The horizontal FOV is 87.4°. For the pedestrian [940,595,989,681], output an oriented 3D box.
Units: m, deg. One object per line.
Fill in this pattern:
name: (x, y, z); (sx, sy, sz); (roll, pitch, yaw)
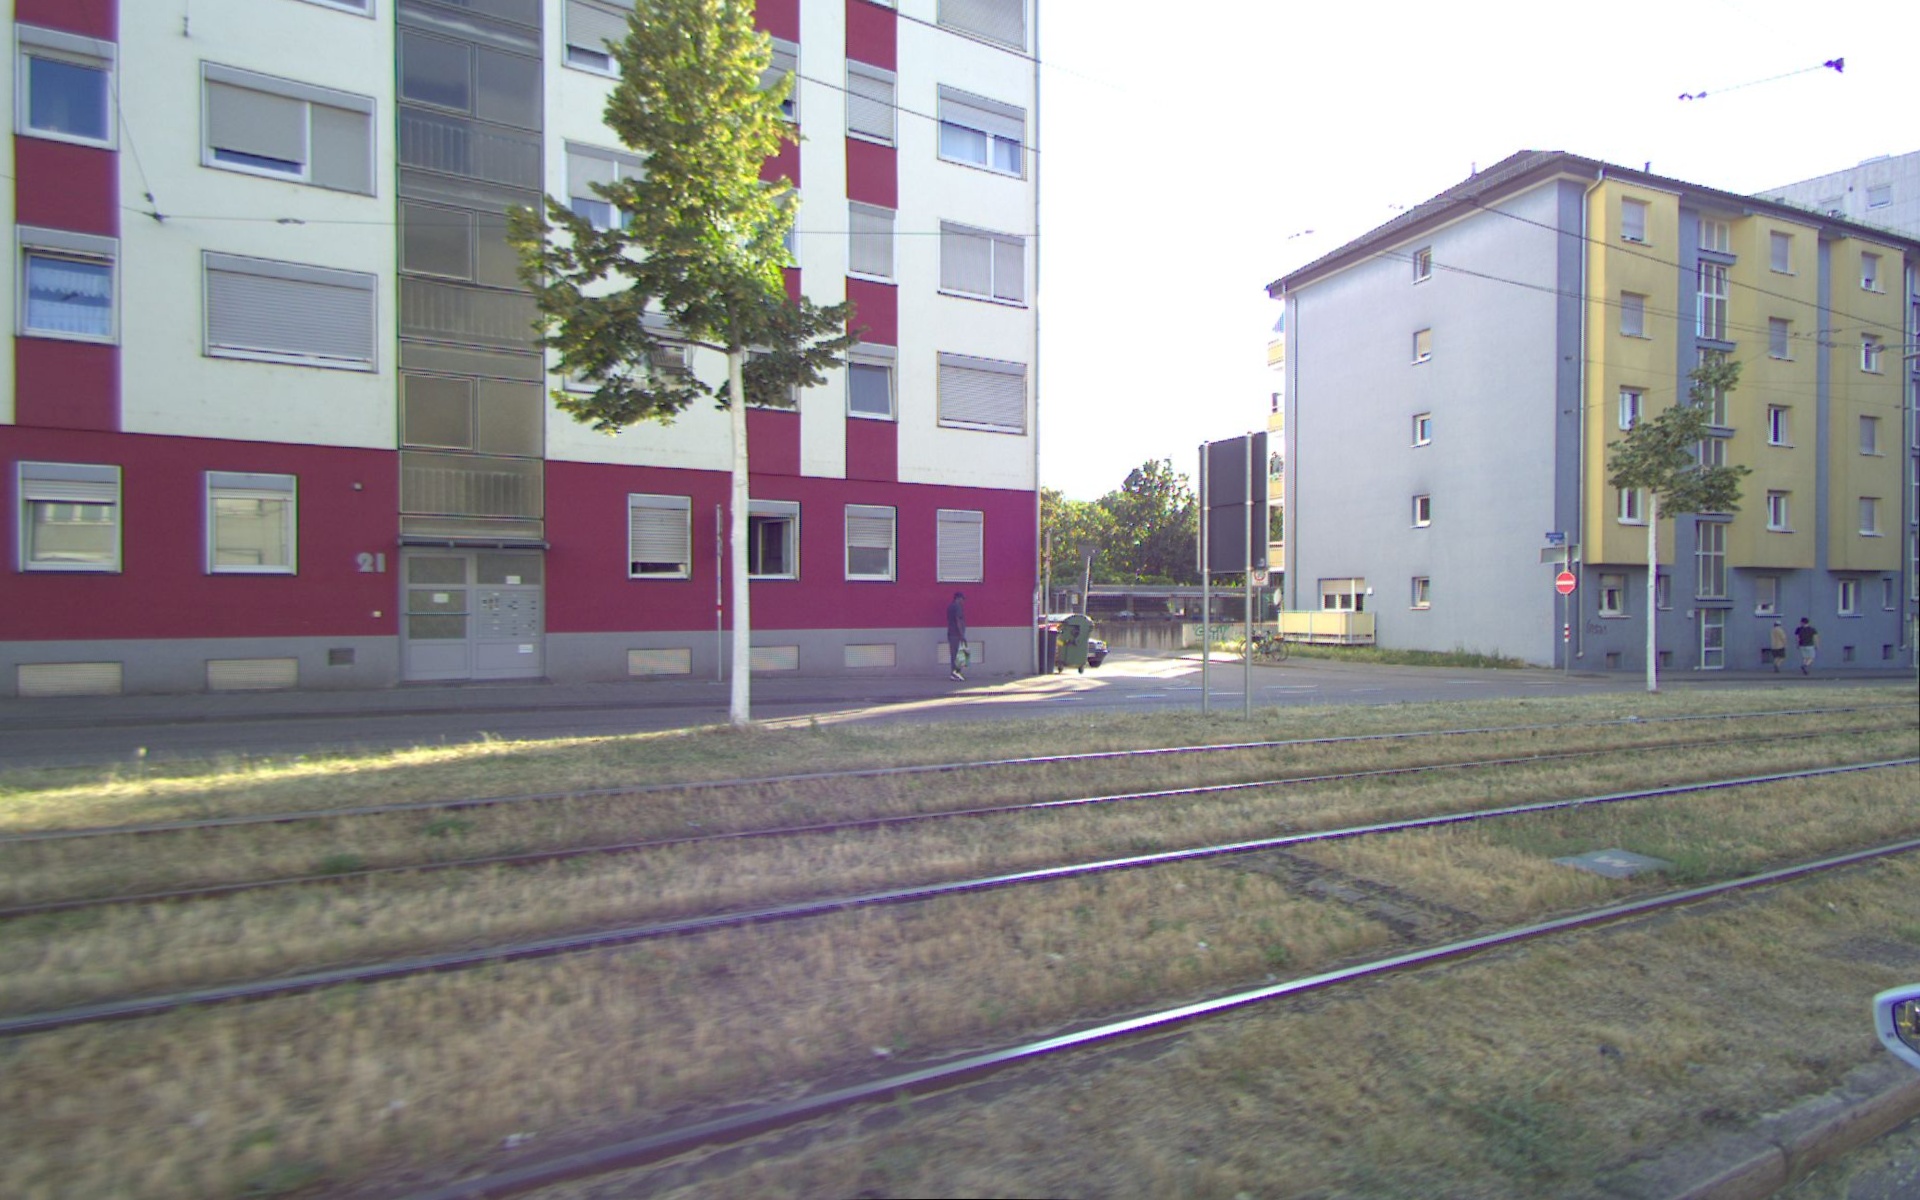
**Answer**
pedestrian: (0.088, 0.761, 20.489); (0.782, 1.712, 0.611); (0, 0, -29)

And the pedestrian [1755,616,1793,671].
pedestrian: (26.779, 1.419, 33.039); (0.696, 1.718, 0.614); (0, 4, -24)

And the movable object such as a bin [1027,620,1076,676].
movable object such as a bin: (2.111, 1.091, 23.215); (0.796, 1.242, 0.863); (1, 0, -28)

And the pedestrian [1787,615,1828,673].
pedestrian: (27.488, 1.423, 32.575); (0.873, 1.797, 0.591); (0, 4, -24)

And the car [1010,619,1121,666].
car: (3.242, 1.302, 31.622); (1.679, 1.311, 3.849); (1, 0, -26)

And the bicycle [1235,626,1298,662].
bicycle: (9.915, 1.419, 32.536); (0.599, 1.090, 1.938); (1, -1, -40)

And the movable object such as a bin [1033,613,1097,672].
movable object such as a bin: (2.629, 1.062, 25.312); (1.124, 1.434, 1.212); (1, 0, -28)
